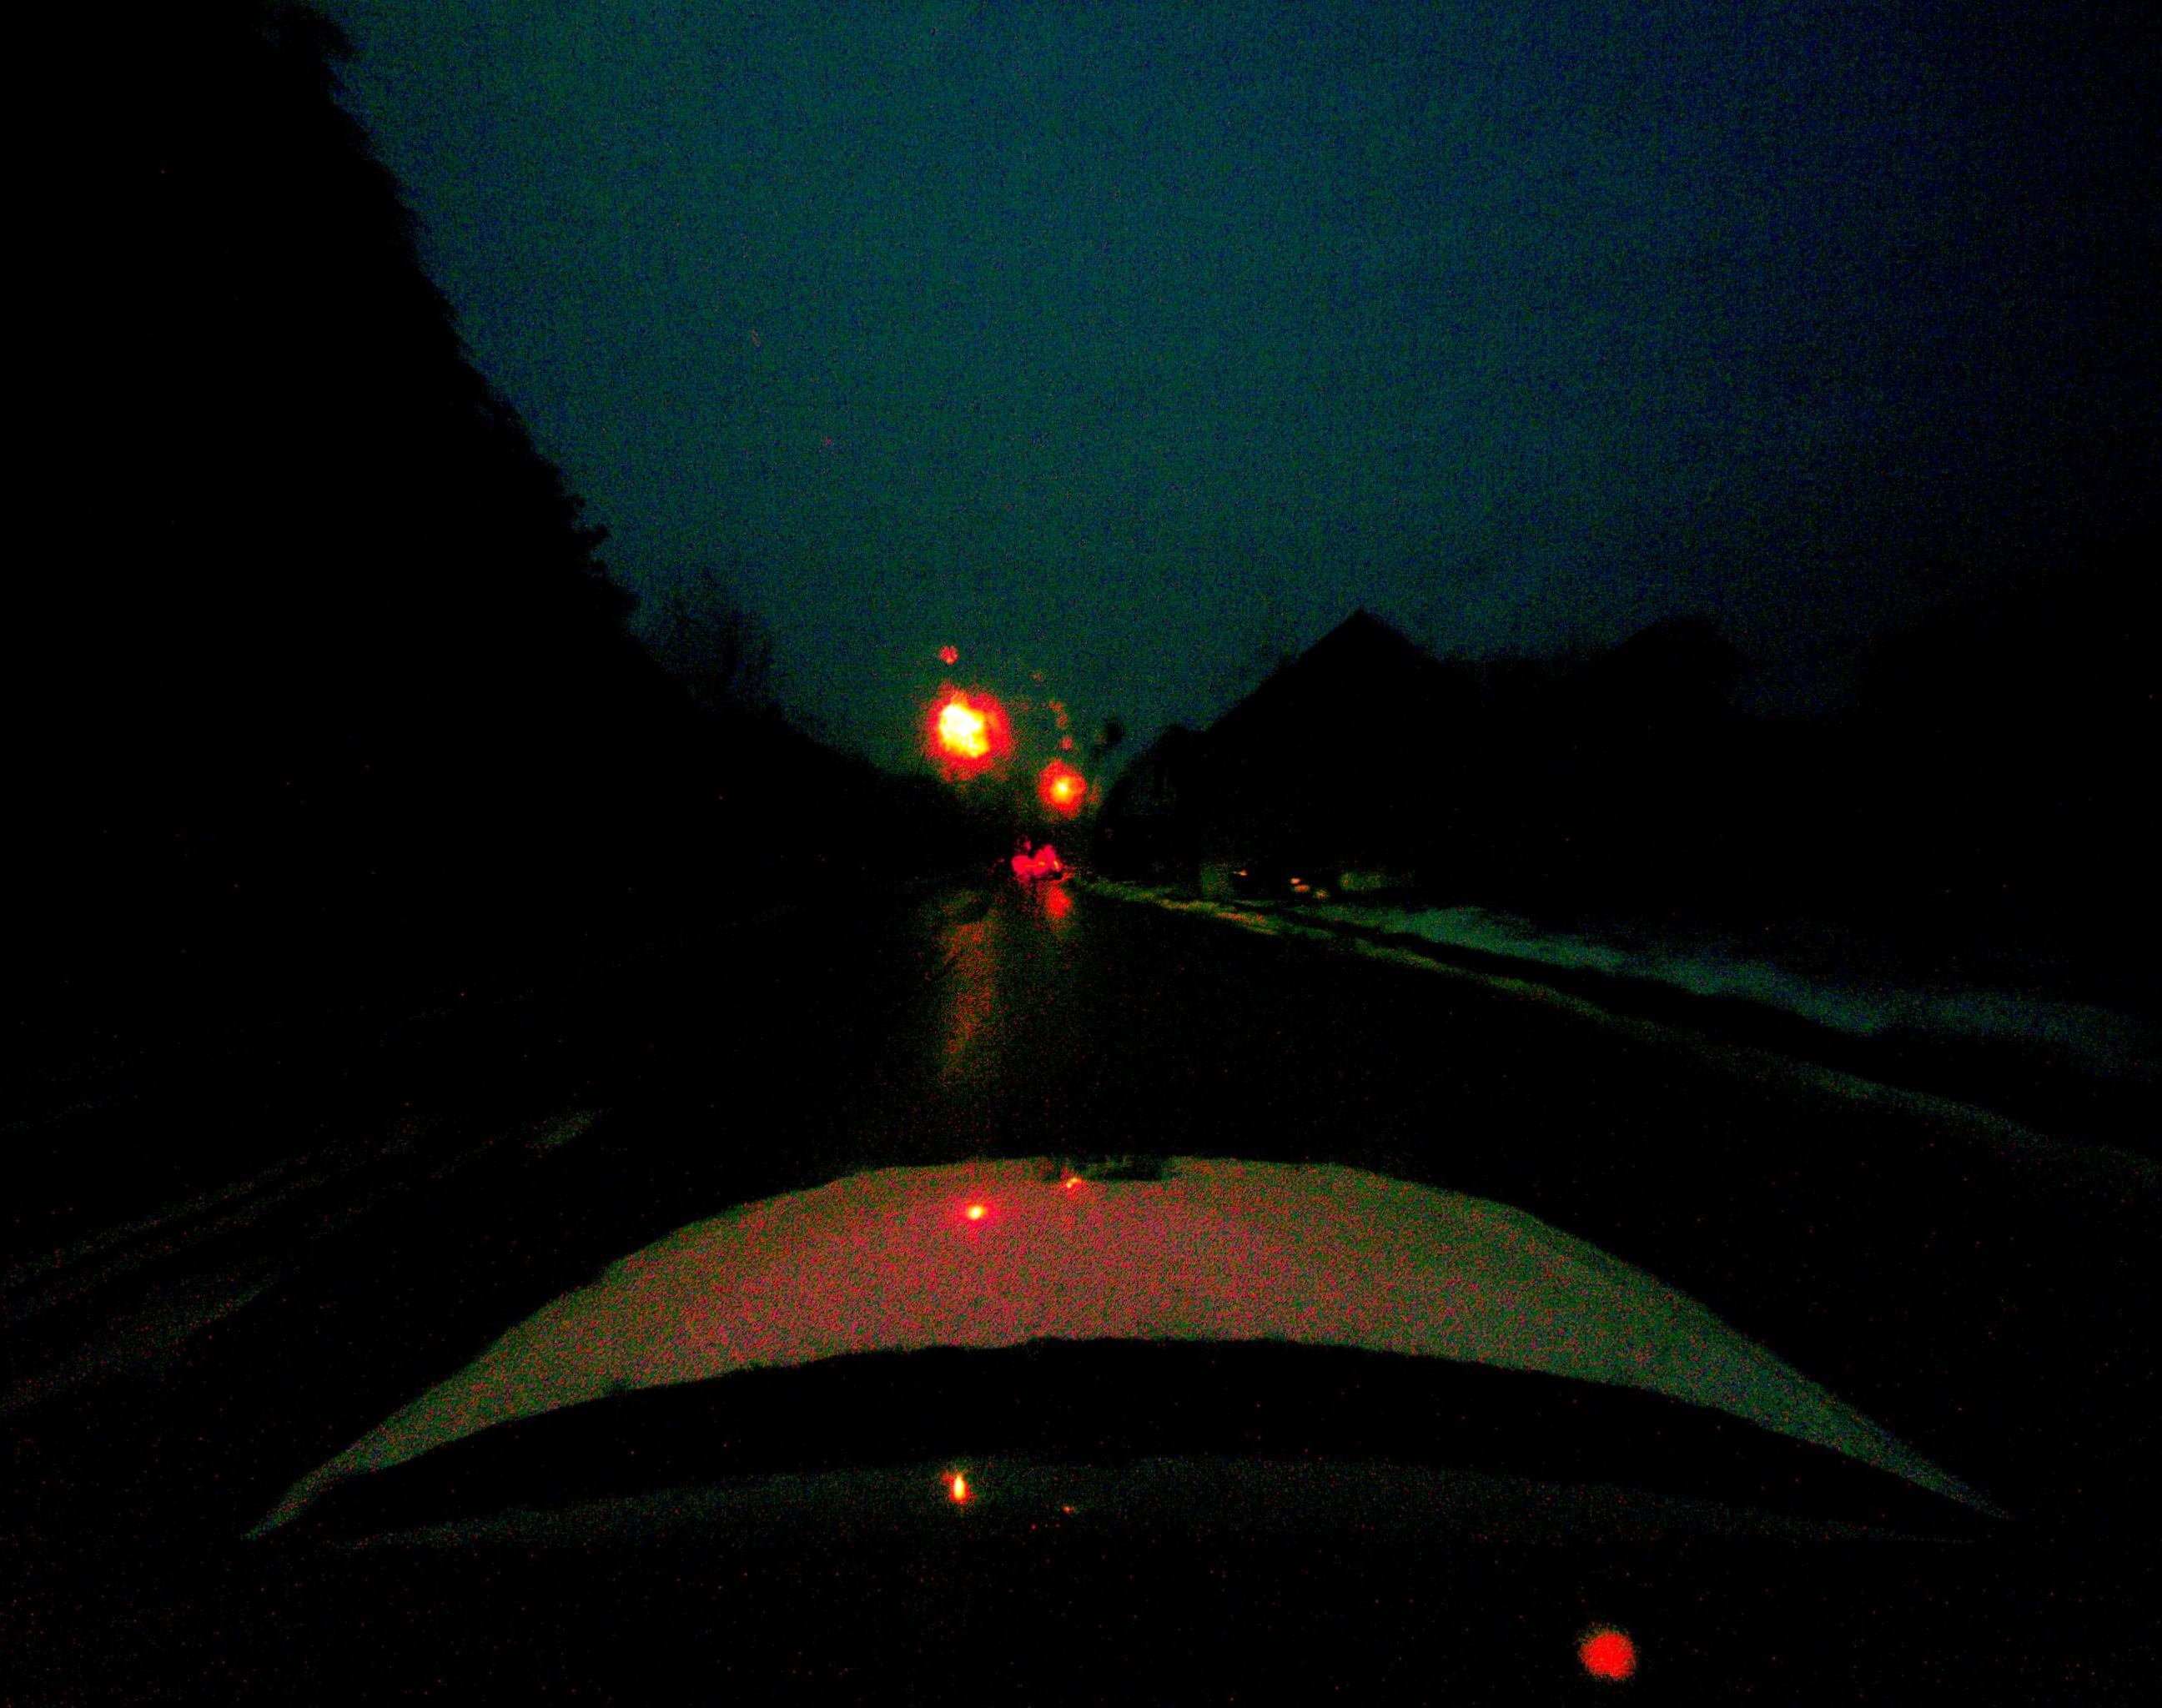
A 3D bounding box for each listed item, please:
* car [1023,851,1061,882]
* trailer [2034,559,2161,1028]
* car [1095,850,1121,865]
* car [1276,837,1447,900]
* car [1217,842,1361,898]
[{"bbox_3d":[-2.486,0.841,51.200,1.993,1.737,3.866,-1,-3,-9],"label":"car"},{"bbox_3d":[9.610,-0.497,4.450,2.865,3.561,5.063,0,-1,1],"label":"trailer"},{"bbox_3d":[3.158,0.408,95.631,1.978,1.651,4.018,-1,-1,17],"label":"car"},{"bbox_3d":[7.677,0.443,22.696,4.216,1.559,2.005,-2,-3,10],"label":"car"},{"bbox_3d":[6.462,0.541,25.715,4.138,1.559,1.949,-2,-3,5],"label":"car"}]
